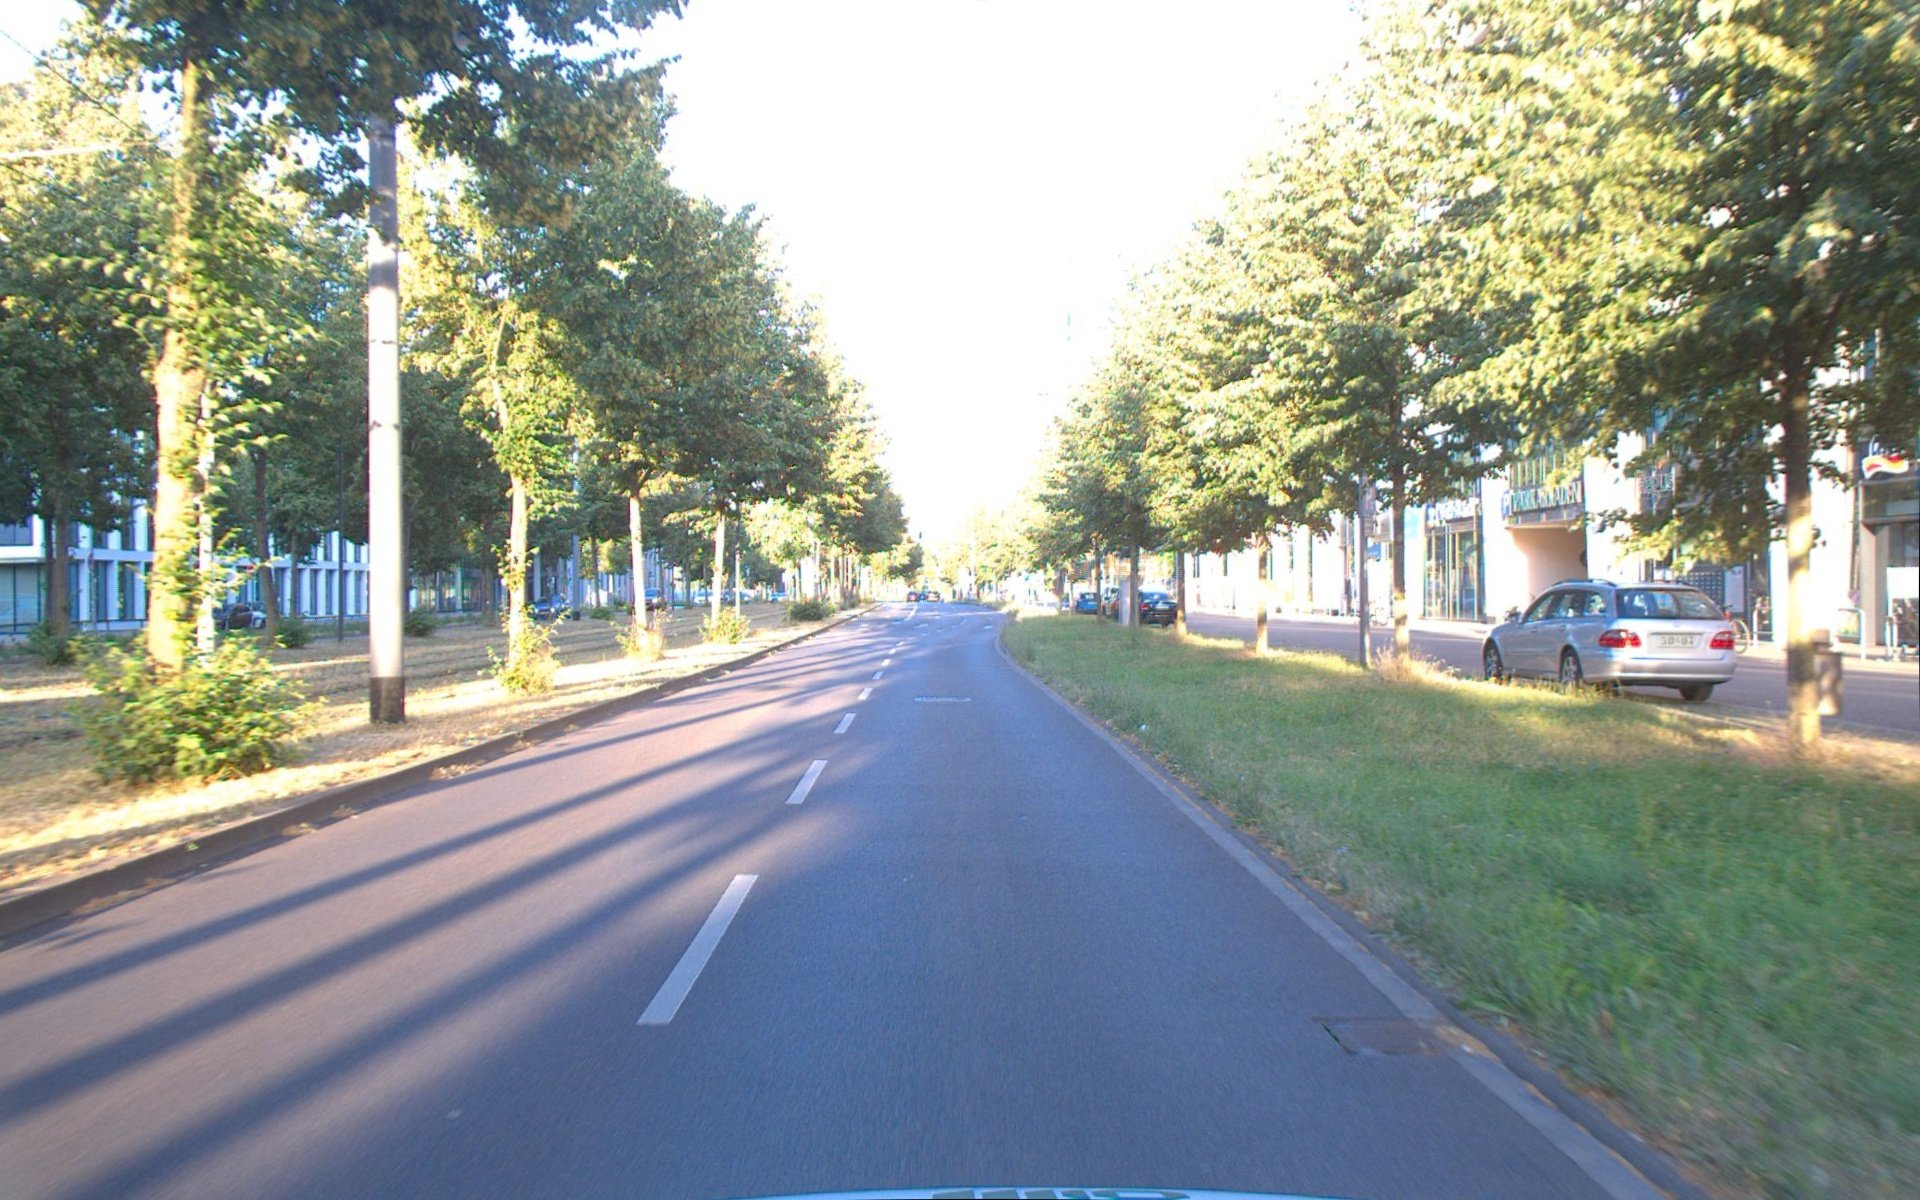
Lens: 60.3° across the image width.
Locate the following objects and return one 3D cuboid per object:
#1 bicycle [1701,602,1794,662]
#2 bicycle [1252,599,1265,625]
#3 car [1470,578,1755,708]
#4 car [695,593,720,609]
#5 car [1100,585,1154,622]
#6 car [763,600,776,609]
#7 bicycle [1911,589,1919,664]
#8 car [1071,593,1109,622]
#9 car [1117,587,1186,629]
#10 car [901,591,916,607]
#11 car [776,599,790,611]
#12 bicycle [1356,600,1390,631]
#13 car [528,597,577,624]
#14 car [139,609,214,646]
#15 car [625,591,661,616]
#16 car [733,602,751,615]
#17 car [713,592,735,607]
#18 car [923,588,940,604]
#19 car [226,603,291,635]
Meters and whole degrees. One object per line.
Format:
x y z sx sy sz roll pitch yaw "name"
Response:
15.010 0.595 31.583 0.524 1.079 1.850 -3 0 -13 "bicycle"
14.331 0.571 79.351 0.558 1.144 1.835 -2 0 10 "bicycle"
8.499 0.491 22.073 1.772 1.527 4.823 -1 0 -2 "car"
-21.544 0.092 141.104 1.624 1.355 4.527 -1 0 -3 "car"
7.361 0.163 73.089 1.817 1.556 4.481 1 0 -1 "car"
-27.127 0.643 235.662 1.624 1.355 4.582 0 0 -3 "car"
15.497 0.421 25.547 0.527 1.184 1.781 -3 0 -1 "bicycle"
7.199 0.419 91.762 1.689 1.556 4.267 1 0 -1 "car"
7.556 0.303 65.629 1.905 1.576 4.809 -1 0 -3 "car"
-6.990 -0.124 223.922 2.045 2.049 3.999 -1 0 -2 "car"
-23.783 0.698 222.351 1.769 1.573 3.530 -1 0 -6 "car"
14.667 0.544 58.792 0.639 1.057 2.055 -1 0 -1 "bicycle"
-23.794 0.616 96.748 1.879 1.534 4.286 -1 0 -1 "car"
-36.333 1.259 76.741 1.822 1.609 3.492 0 0 0 "car"
-21.728 0.230 113.446 1.847 1.605 4.180 -1 0 -3 "car"
-24.595 0.969 186.598 1.740 1.436 3.707 -1 0 -3 "car"
-22.757 -0.043 159.879 1.624 1.355 4.739 -1 0 -3 "car"
-3.605 -0.526 208.382 1.953 2.049 3.999 -1 0 -2 "car"
-36.791 0.981 86.857 1.822 1.609 3.784 0 0 0 "car"
